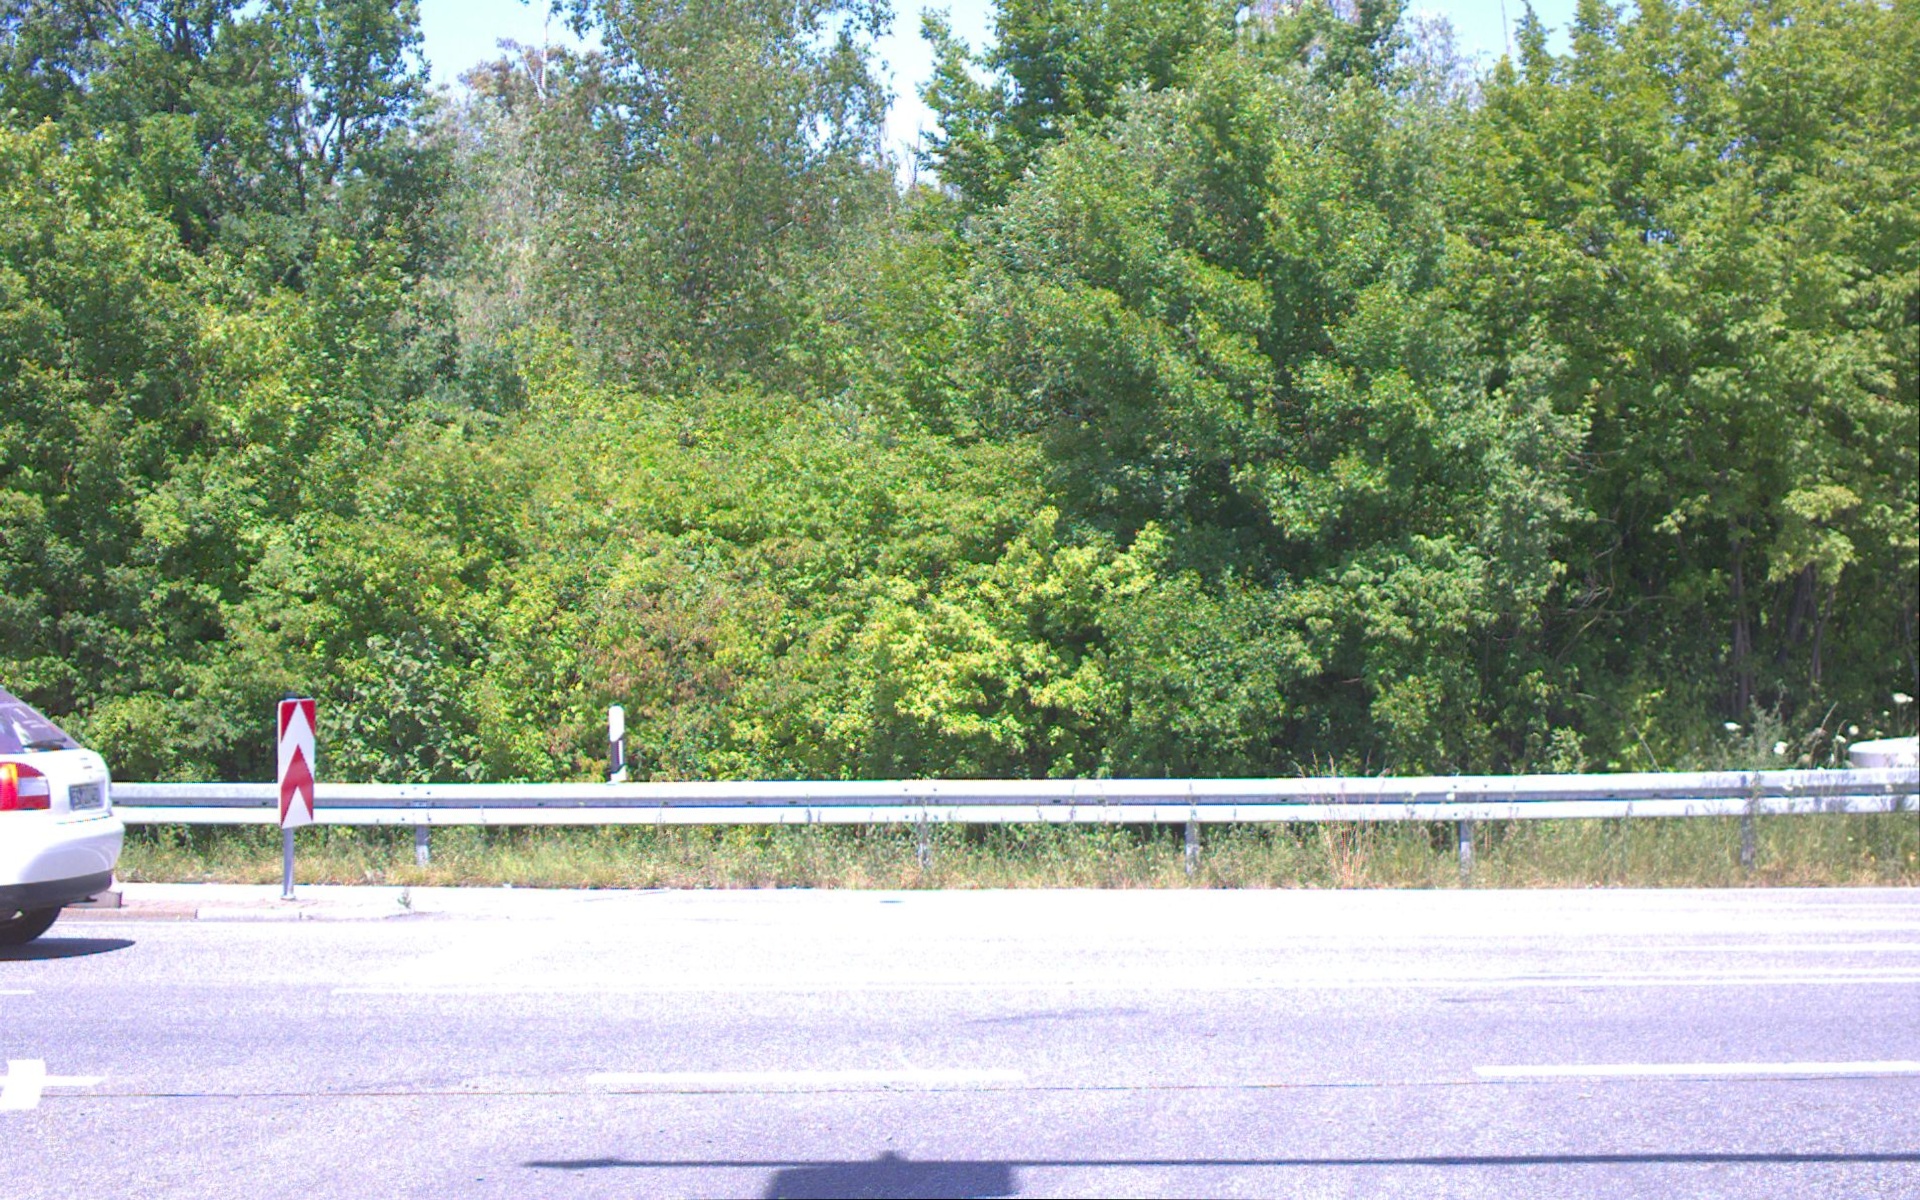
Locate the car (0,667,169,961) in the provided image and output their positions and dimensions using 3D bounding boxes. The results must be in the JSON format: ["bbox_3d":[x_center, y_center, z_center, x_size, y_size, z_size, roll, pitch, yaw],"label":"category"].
[{"bbox_3d":[-6.173,1.042,17.249,3.978,1.391,1.646,0,-3,3],"label":"car"}]
